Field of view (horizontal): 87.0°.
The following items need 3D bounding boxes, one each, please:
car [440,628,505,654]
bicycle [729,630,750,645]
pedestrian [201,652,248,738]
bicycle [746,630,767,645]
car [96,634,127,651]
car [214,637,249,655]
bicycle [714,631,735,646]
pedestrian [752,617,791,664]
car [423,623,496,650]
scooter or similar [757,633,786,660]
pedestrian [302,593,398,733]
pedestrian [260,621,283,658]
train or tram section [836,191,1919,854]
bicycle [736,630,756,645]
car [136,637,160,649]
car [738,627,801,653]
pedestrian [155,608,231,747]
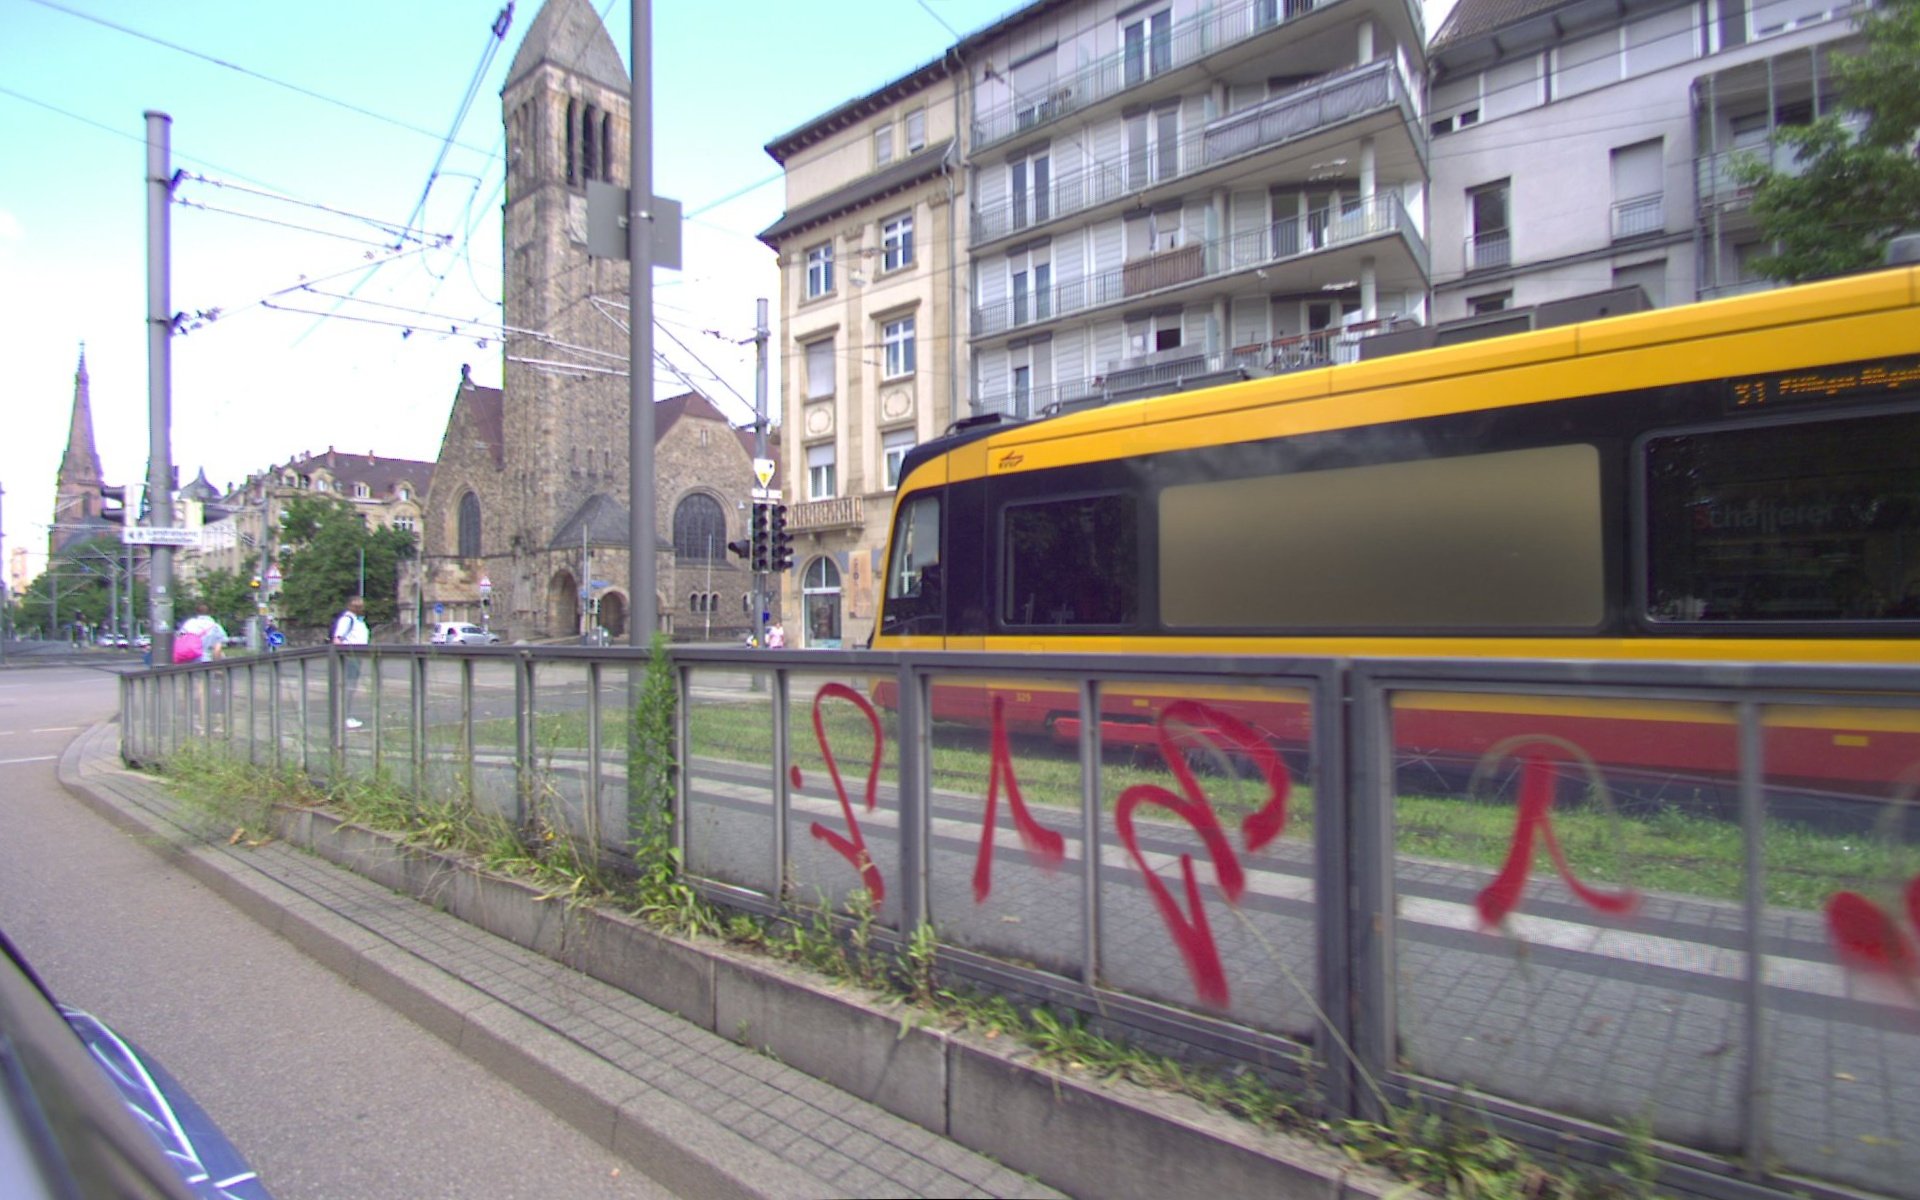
[{"bbox_3d":[-33.804,2.851,70.248,1.816,1.691,3.590,-4,-5,38],"label":"car"},{"bbox_3d":[-18.366,3.140,84.186,1.937,1.120,0.579,2,0,39],"label":"bicycle"},{"bbox_3d":[-9.517,1.223,13.110,0.413,1.071,0.438,0,-2,-25],"label":"pedestrian"},{"bbox_3d":[-17.190,3.153,85.406,1.937,1.120,0.579,2,0,39],"label":"bicycle"},{"bbox_3d":[-84.180,4.219,100.358,4.130,1.517,1.795,-3,-2,42],"label":"car"},{"bbox_3d":[-63.902,4.038,88.714,3.836,1.506,1.765,-3,-2,42],"label":"car"},{"bbox_3d":[-19.306,3.124,82.946,1.937,1.120,0.579,2,0,39],"label":"bicycle"},{"bbox_3d":[-6.731,1.439,36.145,0.936,1.607,0.990,-5,-3,18],"label":"pedestrian"},{"bbox_3d":[-36.015,2.679,72.927,1.999,1.868,4.246,-4,-5,41],"label":"car"},{"bbox_3d":[-8.293,2.047,44.555,1.250,1.155,0.475,-4,-3,35],"label":"scooter or similar"},{"bbox_3d":[-8.210,0.824,13.626,1.044,1.794,0.839,-2,-2,42],"label":"pedestrian"},{"bbox_3d":[-33.037,1.894,48.558,0.743,1.744,0.762,-2,-3,41],"label":"pedestrian"},{"bbox_3d":[4.389,-0.356,8.110,13.010,3.611,2.778,-2,-2,42],"label":"train or tram section"},{"bbox_3d":[-17.919,3.147,84.735,1.937,1.120,0.579,2,0,39],"label":"bicycle"},{"bbox_3d":[-90.833,4.850,113.239,3.063,1.243,1.633,-3,-2,42],"label":"car"},{"bbox_3d":[-11.381,2.388,60.742,1.813,1.459,4.360,1,-1,18],"label":"car"},{"bbox_3d":[-9.623,0.950,12.724,0.615,1.678,0.678,0,-2,-24],"label":"pedestrian"}]
